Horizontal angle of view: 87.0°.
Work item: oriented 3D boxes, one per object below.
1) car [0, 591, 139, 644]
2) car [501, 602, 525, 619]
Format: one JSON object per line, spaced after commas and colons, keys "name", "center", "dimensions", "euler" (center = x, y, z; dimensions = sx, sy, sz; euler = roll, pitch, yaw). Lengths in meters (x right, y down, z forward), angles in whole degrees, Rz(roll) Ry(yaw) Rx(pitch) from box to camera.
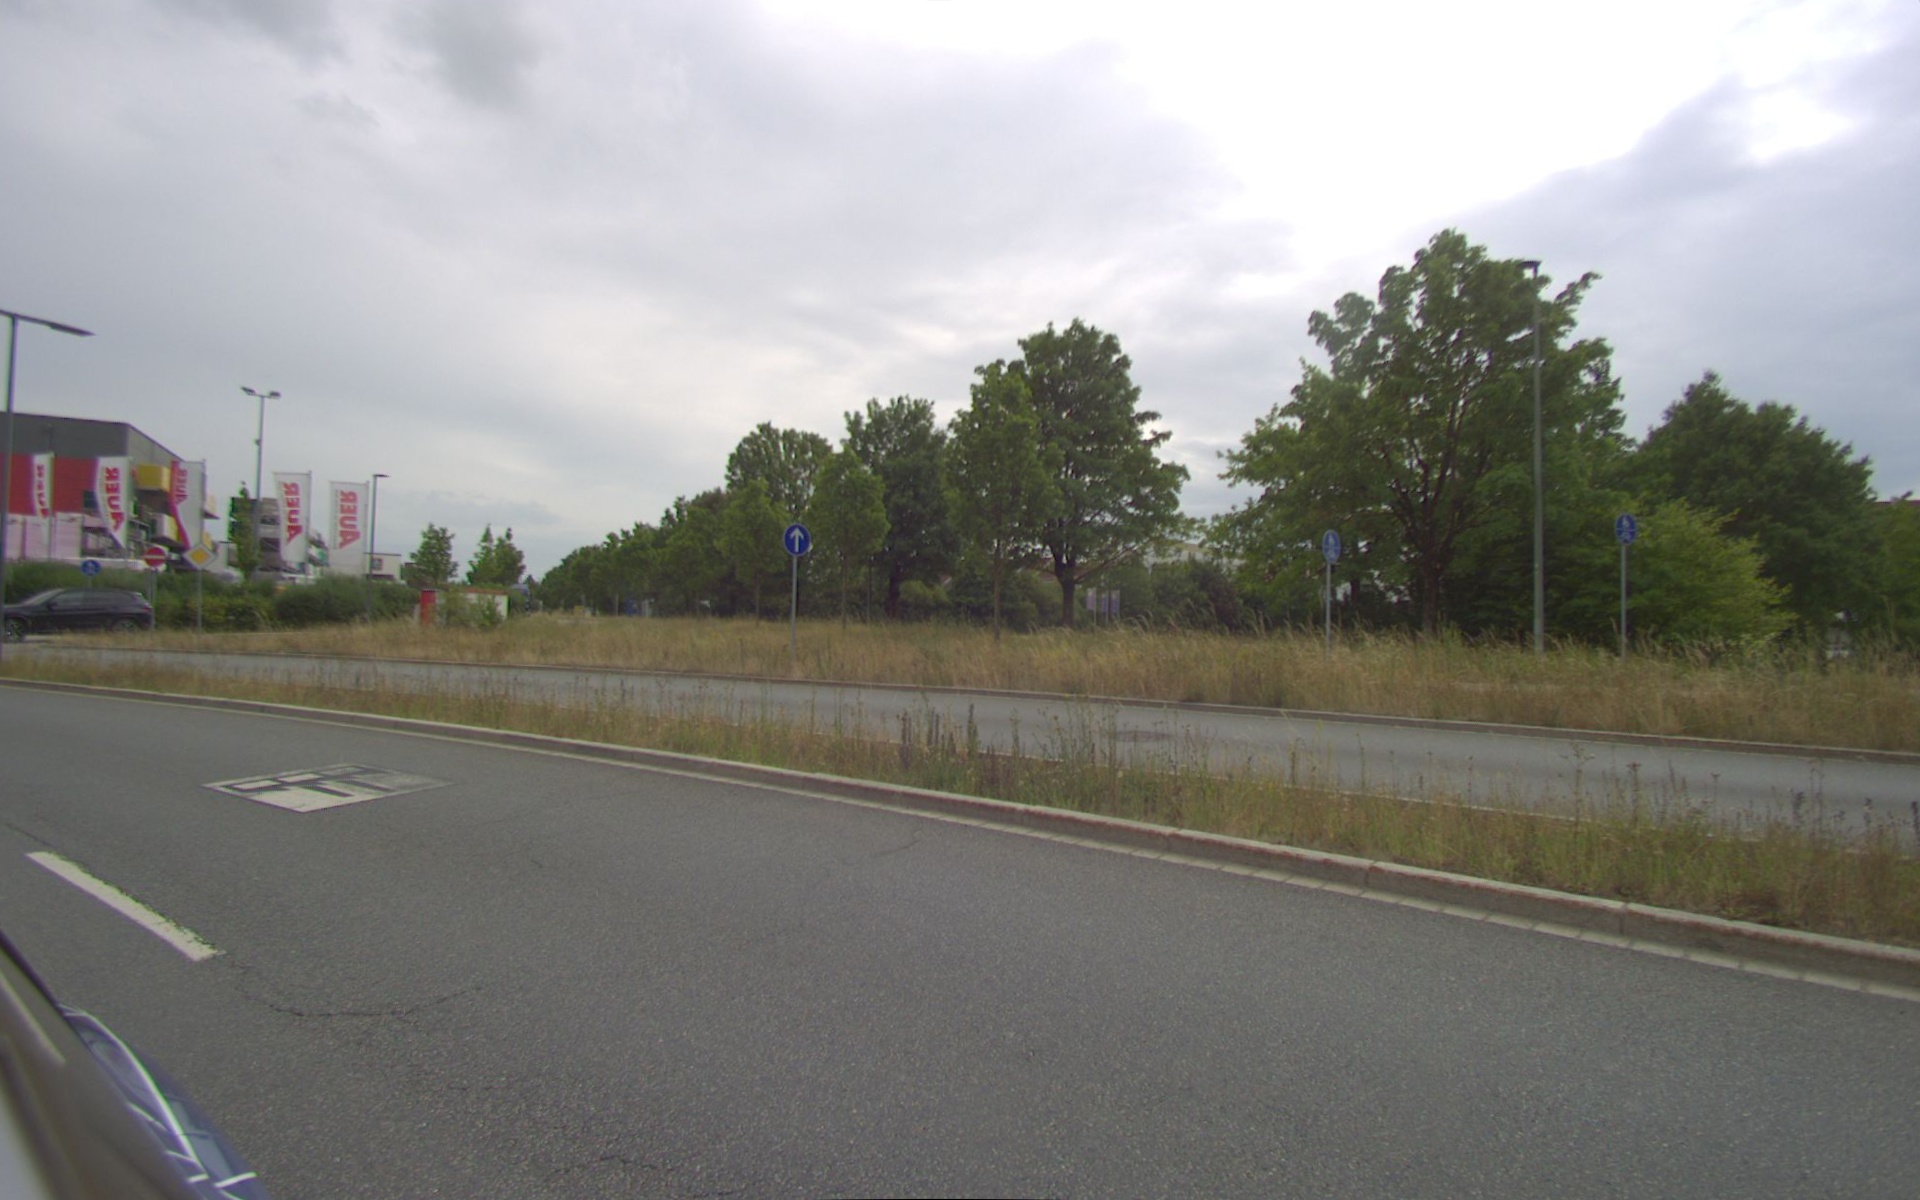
{"name": "car", "center": [-28.463, 0.533, 31.453], "dimensions": [1.866, 1.561, 4.212], "euler": [1, 0, 29]}
{"name": "car", "center": [-52.003, 1.216, 117.701], "dimensions": [1.966, 1.763, 4.011], "euler": [3, -4, -31]}
